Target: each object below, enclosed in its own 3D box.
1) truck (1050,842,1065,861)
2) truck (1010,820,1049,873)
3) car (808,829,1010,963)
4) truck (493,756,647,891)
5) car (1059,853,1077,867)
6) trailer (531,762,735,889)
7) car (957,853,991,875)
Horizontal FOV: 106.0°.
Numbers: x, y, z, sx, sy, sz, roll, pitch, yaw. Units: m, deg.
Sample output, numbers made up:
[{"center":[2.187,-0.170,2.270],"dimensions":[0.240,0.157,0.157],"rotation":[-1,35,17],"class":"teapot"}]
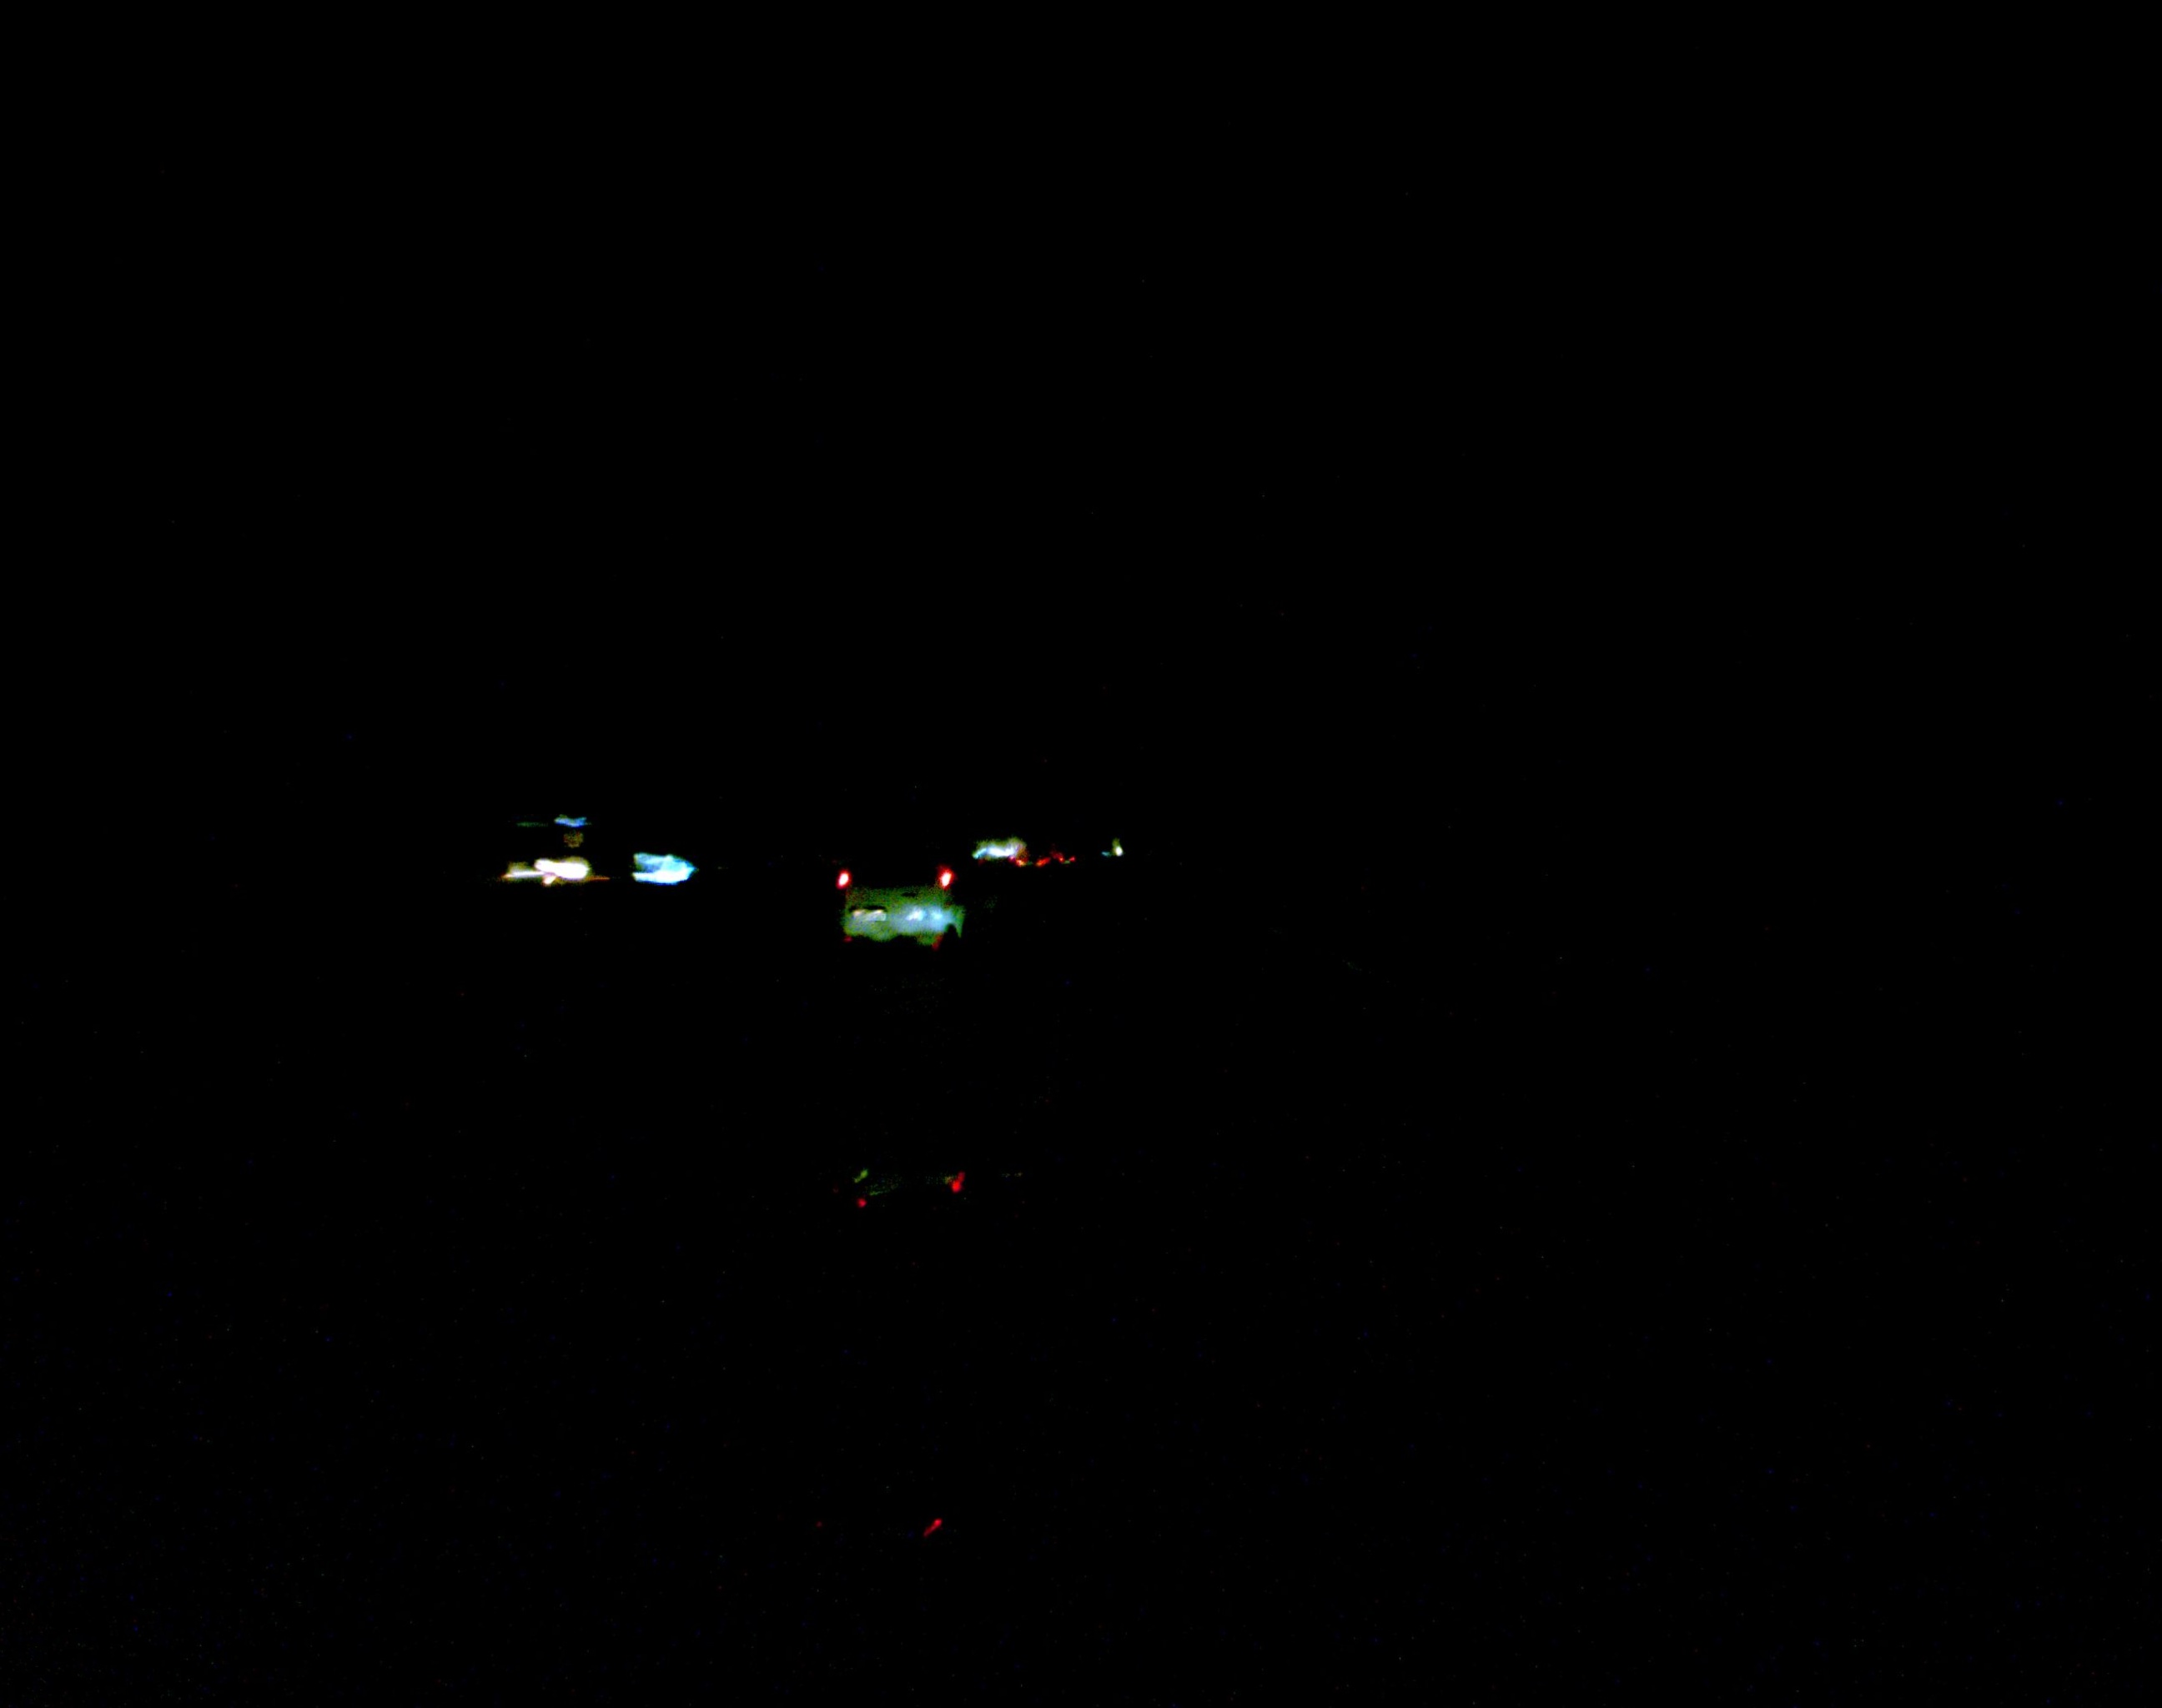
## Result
[{"center":[-6.244,-0.528,214.577],"dimensions":[3.815,4.915,11.592],"rotation":[0,0,-3],"class":"truck"},{"center":[-5.848,-0.771,93.126],"dimensions":[4.158,5.544,13.059],"rotation":[0,0,-3],"class":"truck"},{"center":[-2.540,0.570,13.493],"dimensions":[1.944,1.792,5.129],"rotation":[0,0,4],"class":"car"},{"center":[-25.678,-1.444,41.383],"dimensions":[3.450,6.128,6.174],"rotation":[4,0,1],"class":"truck"},{"center":[-1.550,0.696,95.908],"dimensions":[1.989,1.707,4.190],"rotation":[0,0,-4],"class":"car"},{"center":[-25.513,-1.426,48.025],"dimensions":[3.450,6.127,14.411],"rotation":[4,0,1],"class":"trailer"},{"center":[-8.320,0.753,63.903],"dimensions":[1.986,1.707,4.197],"rotation":[0,0,2],"class":"car"}]
